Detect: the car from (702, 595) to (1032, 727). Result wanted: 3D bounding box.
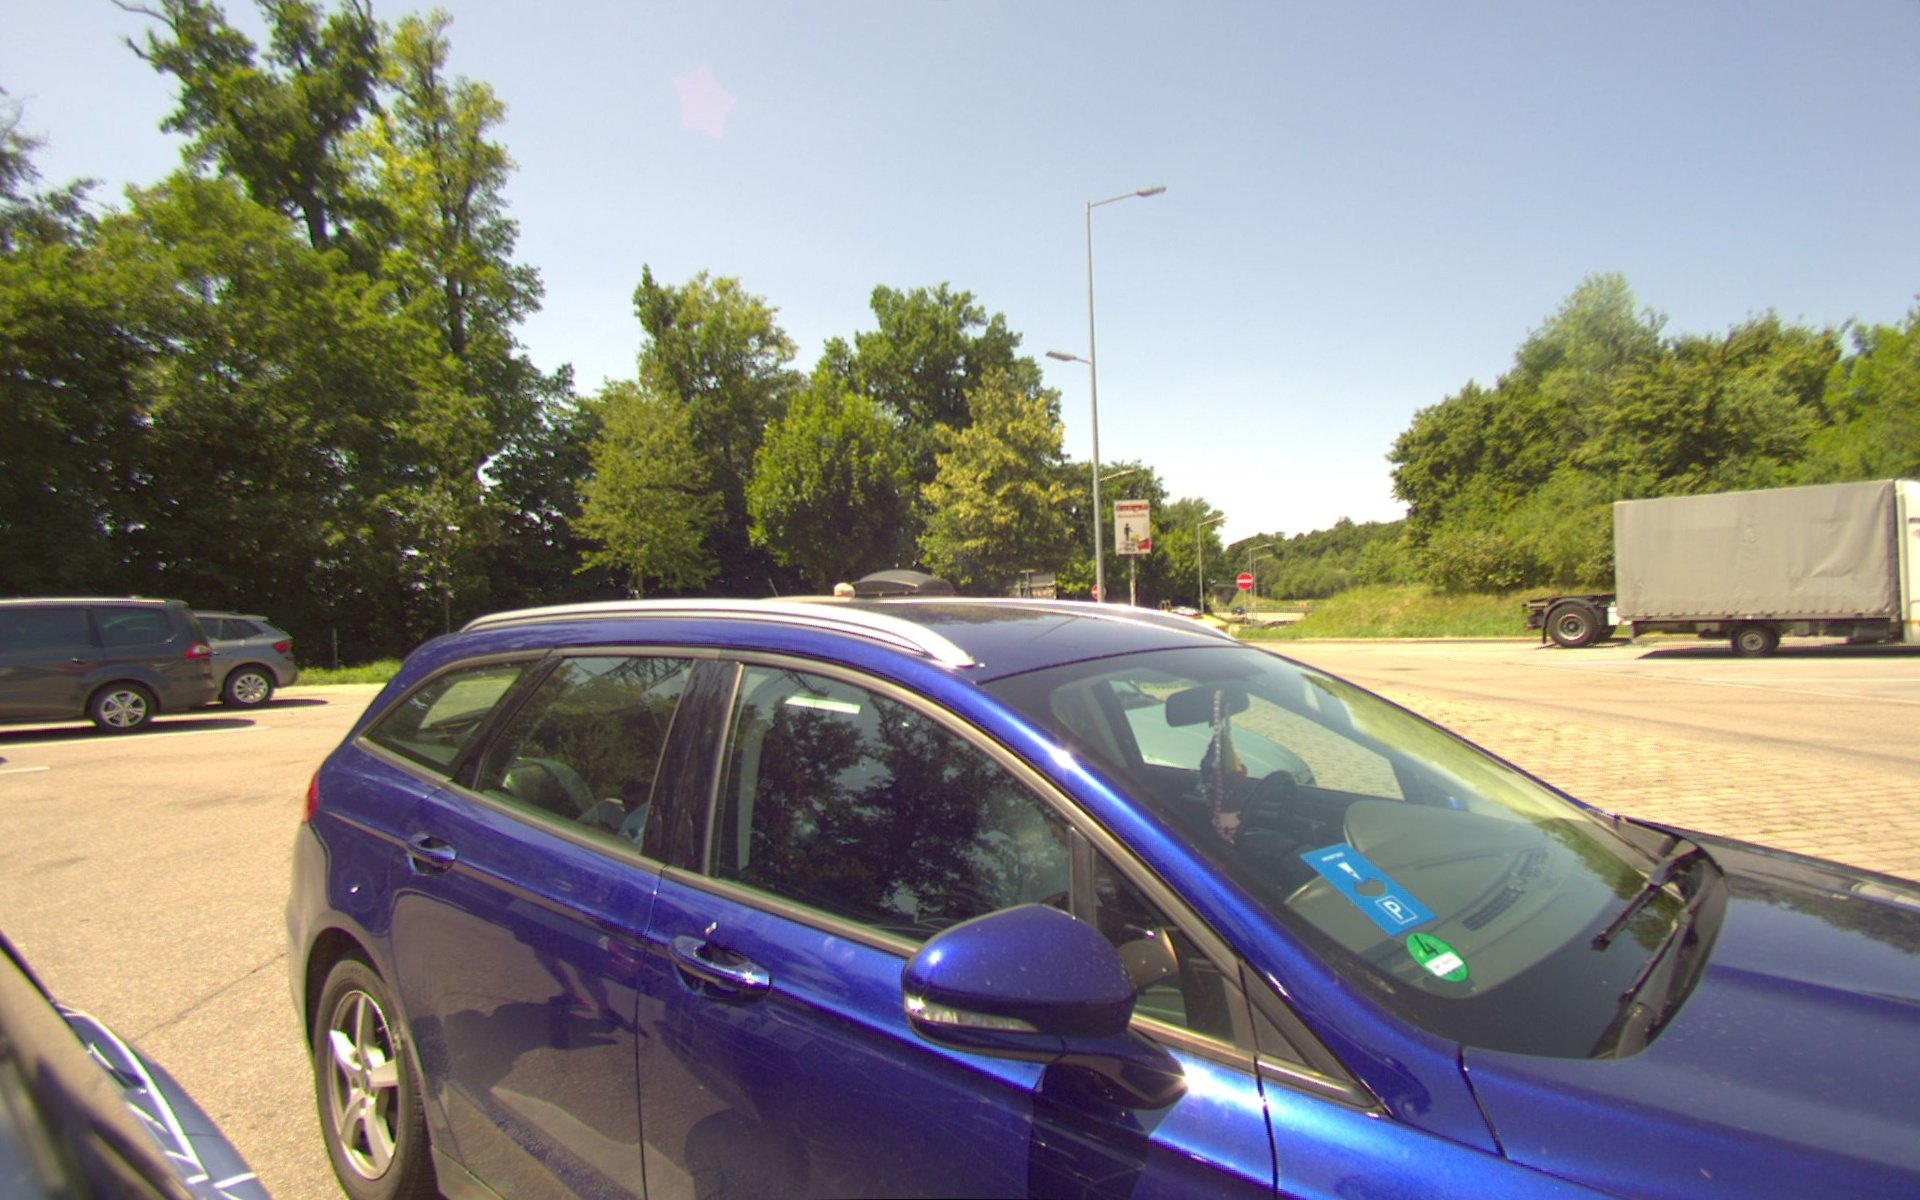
[{"bbox_3d":[-1.371,0.760,13.545,4.466,1.476,1.756,-3,-1,40],"label":"car"}]

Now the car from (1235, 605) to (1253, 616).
[{"bbox_3d":[52.152,1.945,186.140,2.008,1.874,4.002,-1,-1,-2],"label":"car"}]

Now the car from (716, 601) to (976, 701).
[{"bbox_3d":[-2.024,0.831,17.098,4.466,1.476,1.756,-3,-1,40],"label":"car"}]

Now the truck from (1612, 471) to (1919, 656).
[{"bbox_3d":[16.694,-0.615,18.809,7.347,3.152,2.339,-3,-2,41],"label":"truck"}]

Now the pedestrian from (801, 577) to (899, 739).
[{"bbox_3d":[-1.154,0.585,10.611,0.759,1.614,0.663,-2,-1,41],"label":"pedestrian"}]

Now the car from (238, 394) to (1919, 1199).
[{"bbox_3d":[0.230,0.636,2.113,4.466,1.476,1.756,-3,-1,40],"label":"car"}]

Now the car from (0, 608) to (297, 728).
[{"bbox_3d":[-12.722,0.976,15.619,3.910,1.598,1.782,-1,-1,-43],"label":"car"}]

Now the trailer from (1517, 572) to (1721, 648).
[{"bbox_3d":[15.775,0.274,24.344,3.900,1.674,1.456,-2,-1,41],"label":"trailer"}]

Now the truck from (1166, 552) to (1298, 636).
[{"bbox_3d":[12.807,-0.233,47.622,5.782,3.720,1.987,-2,-1,20],"label":"truck"}]

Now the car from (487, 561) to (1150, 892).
[{"bbox_3d":[-1.183,0.632,6.635,4.466,1.476,1.756,-3,-1,40],"label":"car"}]

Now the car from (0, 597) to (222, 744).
[{"bbox_3d":[-11.693,0.851,12.568,3.910,1.701,1.782,-1,-1,-43],"label":"car"}]
